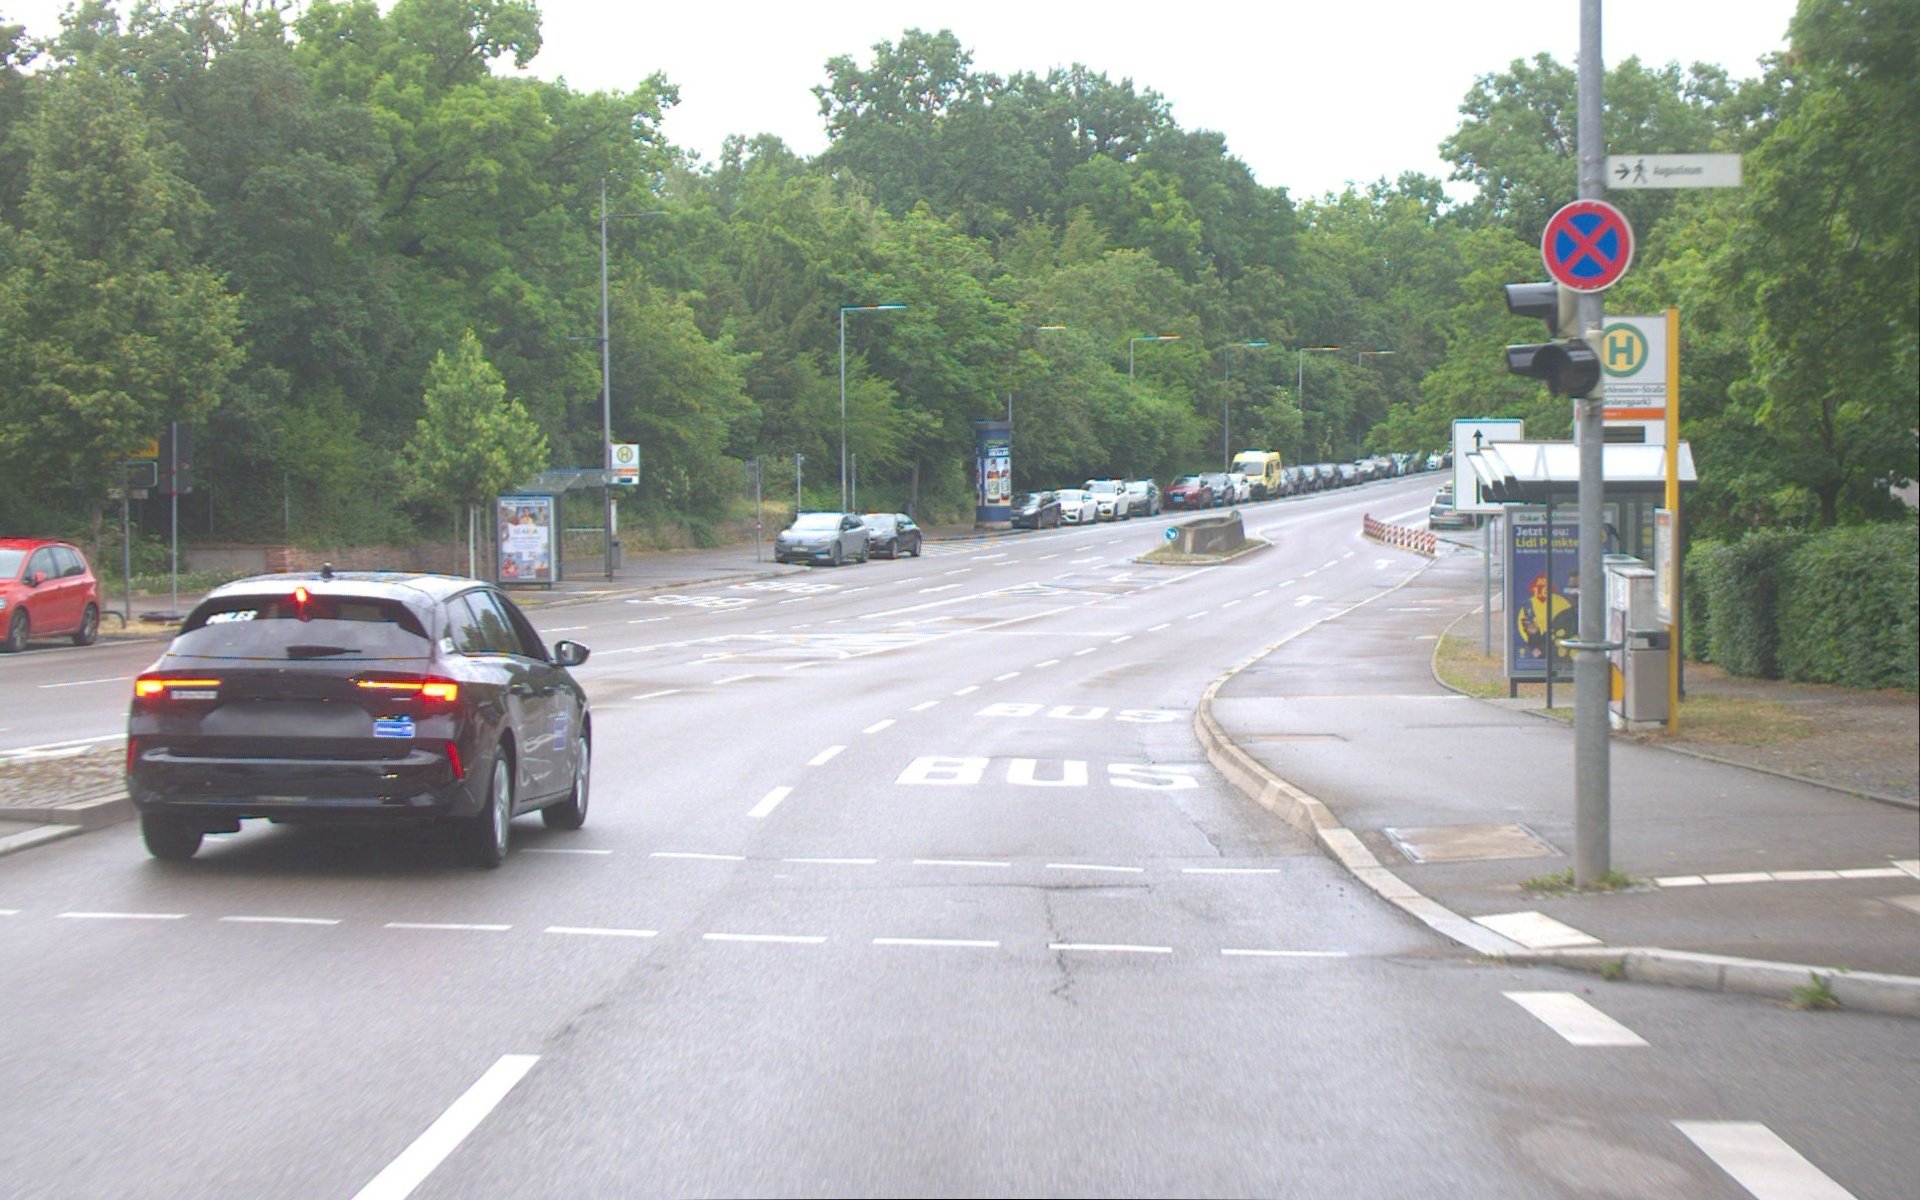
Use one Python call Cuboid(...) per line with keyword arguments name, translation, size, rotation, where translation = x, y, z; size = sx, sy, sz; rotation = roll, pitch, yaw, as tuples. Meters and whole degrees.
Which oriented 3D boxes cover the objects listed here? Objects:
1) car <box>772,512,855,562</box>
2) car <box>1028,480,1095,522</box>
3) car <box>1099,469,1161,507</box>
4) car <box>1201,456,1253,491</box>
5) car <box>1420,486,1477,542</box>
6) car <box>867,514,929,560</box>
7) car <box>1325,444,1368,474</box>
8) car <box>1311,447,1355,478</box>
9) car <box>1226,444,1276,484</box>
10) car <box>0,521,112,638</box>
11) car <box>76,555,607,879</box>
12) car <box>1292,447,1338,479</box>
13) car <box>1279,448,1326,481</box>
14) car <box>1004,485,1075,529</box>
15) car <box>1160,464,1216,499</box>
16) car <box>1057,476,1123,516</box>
Cuboid(name="car", translation=(-4.398, -1.882, 103.614), size=(1.714, 1.455, 3.749), rotation=(1, 1, 10))
Cuboid(name="car", translation=(4.229, -4.120, 142.962), size=(1.860, 1.480, 3.998), rotation=(3, 5, 15))
Cuboid(name="car", translation=(7.740, -5.108, 156.114), size=(1.957, 1.480, 3.998), rotation=(3, 5, 15))
Cuboid(name="car", translation=(13.877, -6.566, 178.331), size=(1.957, 1.612, 3.998), rotation=(3, 5, 15))
Cuboid(name="car", translation=(20.326, -3.588, 142.964), size=(1.995, 2.071, 3.999), rotation=(3, 5, 12))
Cuboid(name="car", translation=(-1.960, -1.986, 109.307), size=(1.417, 1.420, 3.121), rotation=(1, 1, 9))
Cuboid(name="car", translation=(23.480, -8.568, 208.716), size=(1.957, 1.647, 3.998), rotation=(3, 5, 15))
Cuboid(name="car", translation=(22.085, -8.159, 203.361), size=(1.957, 1.647, 3.998), rotation=(3, 5, 15))
Cuboid(name="car", translation=(15.592, -7.324, 184.307), size=(1.957, 1.930, 3.998), rotation=(3, 5, 15))
Cuboid(name="car", translation=(-13.905, -0.332, 49.548), size=(1.875, 1.569, 4.222), rotation=(2, 1, 7))
Cuboid(name="car", translation=(-3.106, 0.513, 18.209), size=(1.799, 1.426, 4.520), rotation=(2, 1, 2))
Cuboid(name="car", translation=(20.400, -7.864, 197.368), size=(1.957, 1.647, 3.998), rotation=(3, 5, 15))
Cuboid(name="car", translation=(19.181, -7.586, 192.400), size=(1.957, 1.647, 3.998), rotation=(3, 5, 15))
Cuboid(name="car", translation=(3.207, -3.747, 138.105), size=(1.957, 1.480, 3.998), rotation=(3, 5, 15))
Cuboid(name="car", translation=(11.167, -5.799, 168.117), size=(1.957, 1.480, 3.998), rotation=(3, 5, 15))
Cuboid(name="car", translation=(5.614, -4.483, 147.826), size=(1.957, 1.480, 3.998), rotation=(3, 5, 15))
